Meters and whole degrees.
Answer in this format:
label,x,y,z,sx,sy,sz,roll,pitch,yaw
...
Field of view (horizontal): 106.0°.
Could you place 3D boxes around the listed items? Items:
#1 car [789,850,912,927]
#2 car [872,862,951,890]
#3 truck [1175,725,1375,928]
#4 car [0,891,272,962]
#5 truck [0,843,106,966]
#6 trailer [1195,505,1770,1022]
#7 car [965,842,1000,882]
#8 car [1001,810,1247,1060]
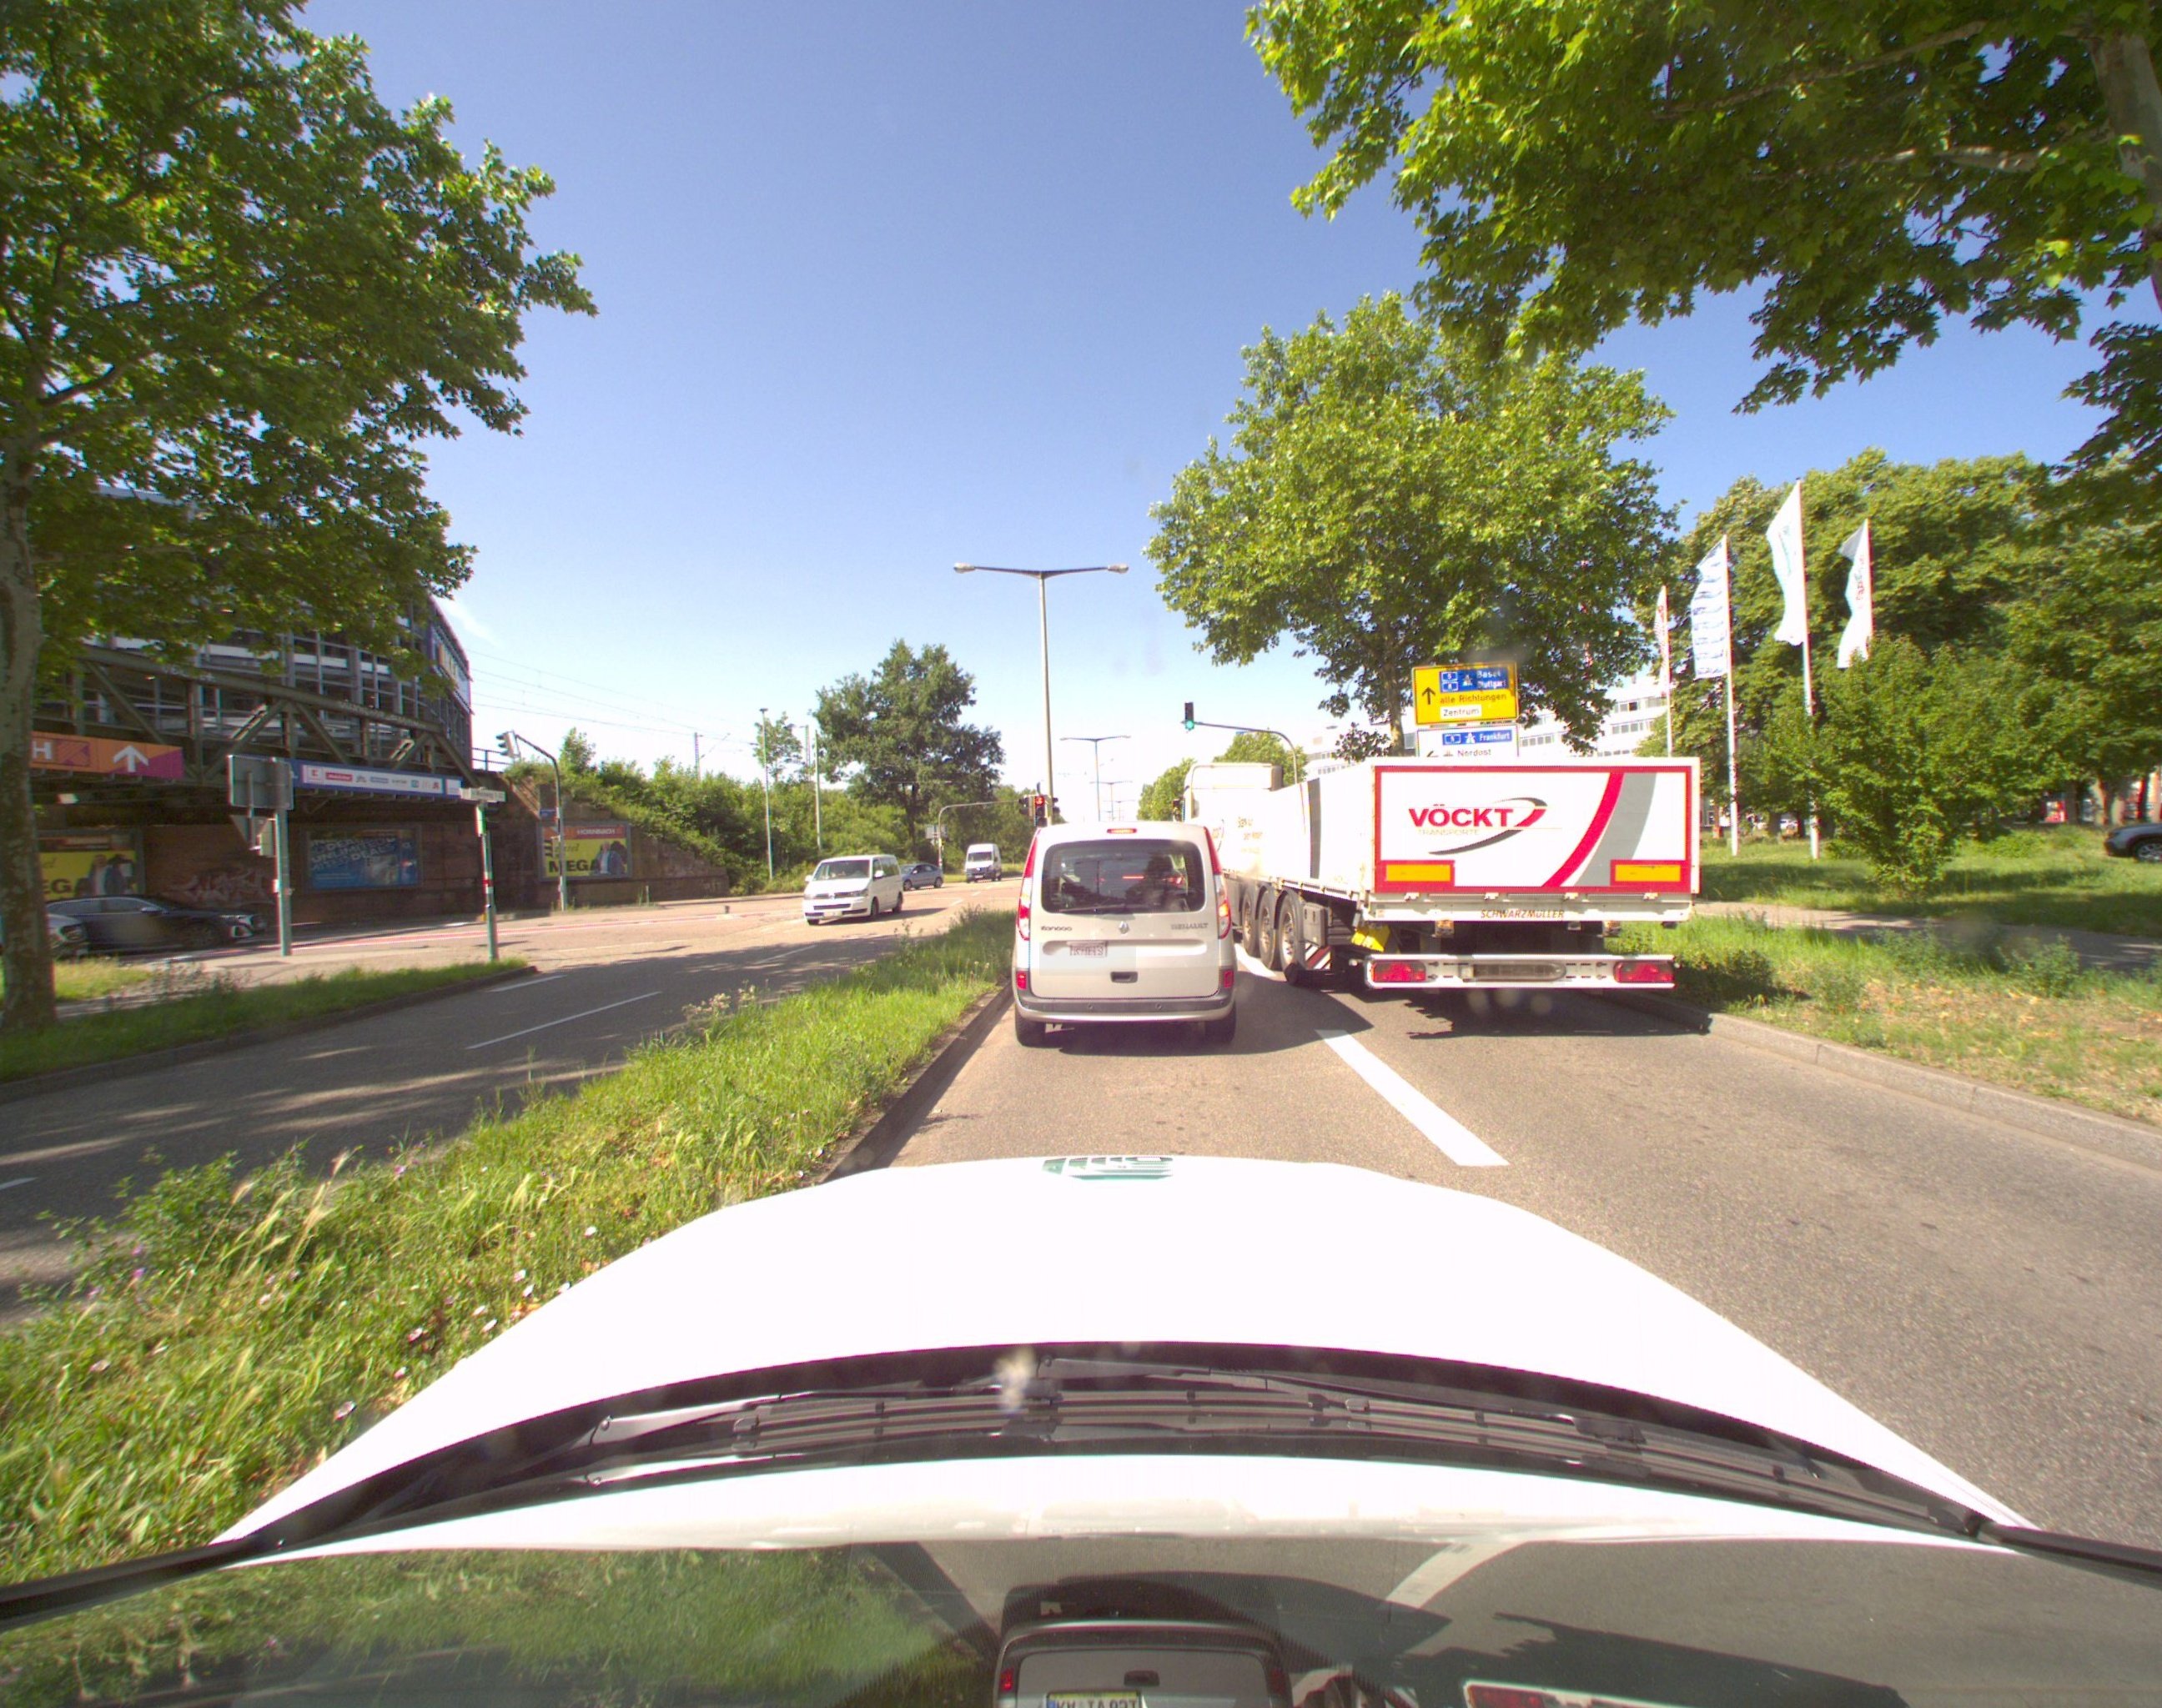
label,x,y,z,sx,sy,sz,roll,pitch,yaw
car,-6.666,0.931,24.226,1.986,1.891,4.989,-4,0,2
car,-9.406,1.216,45.511,1.892,1.409,4.254,-1,0,31
truck,4.084,-0.504,19.079,3.060,3.758,7.479,-1,0,2
car,-26.066,1.931,22.478,5.074,1.596,1.510,-1,-1,-35
truck,-26.234,1.162,17.514,6.431,2.712,1.979,-1,-1,-34
trailer,3.782,-0.628,12.107,3.004,3.740,12.248,-1,0,3
car,-6.789,0.551,56.640,2.054,2.614,5.862,-1,0,-3
car,0.384,0.599,7.876,1.742,1.772,3.951,-1,0,2
